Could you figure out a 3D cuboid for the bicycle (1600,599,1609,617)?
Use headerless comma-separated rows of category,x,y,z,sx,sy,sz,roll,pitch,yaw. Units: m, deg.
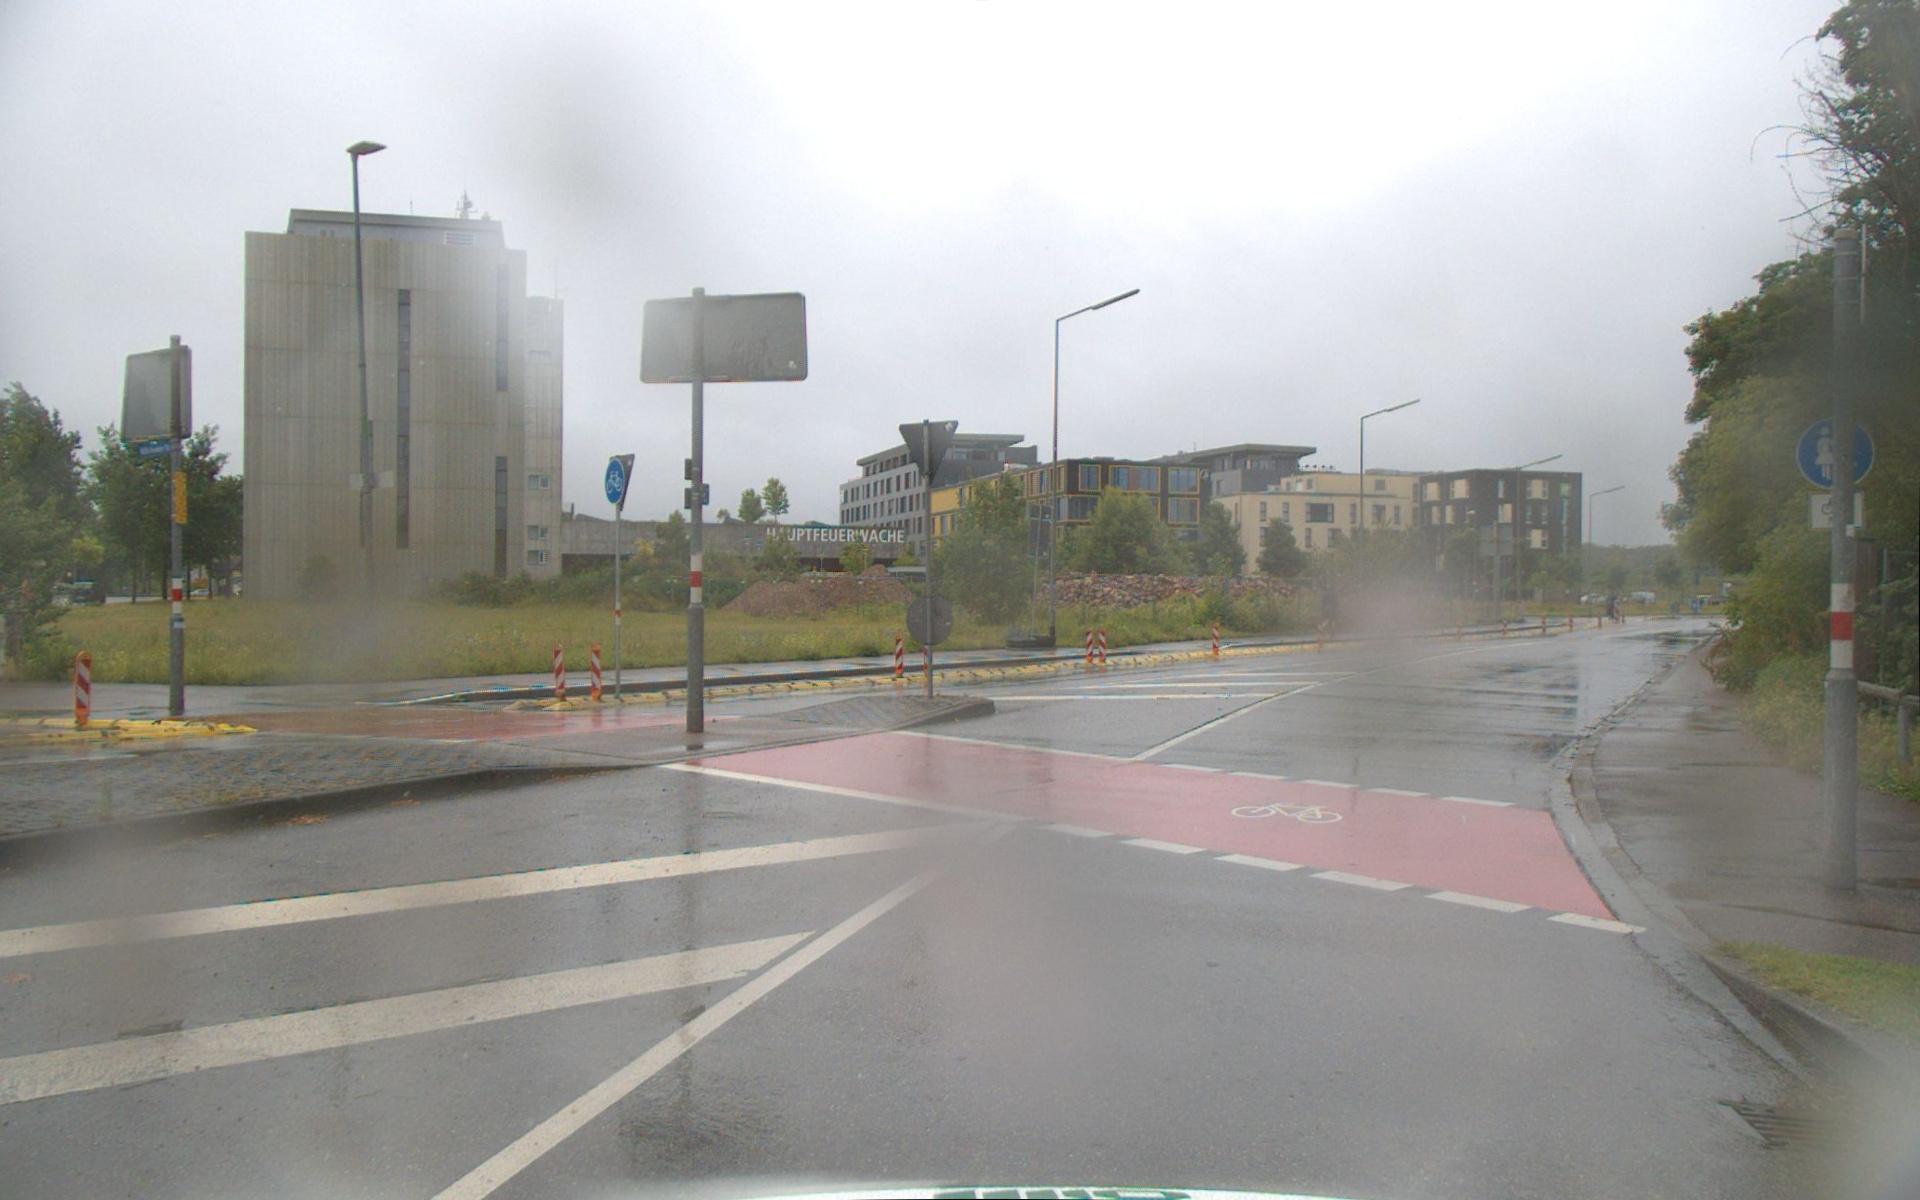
bicycle,38.810,0.472,99.609,0.418,1.037,1.611,1,0,25

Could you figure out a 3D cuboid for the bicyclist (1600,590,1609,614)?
bicyclist,38.824,0.128,99.616,0.435,1.428,0.549,0,-2,27

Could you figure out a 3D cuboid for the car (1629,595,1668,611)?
car,81.581,0.368,196.022,3.919,1.803,1.993,2,-2,-14

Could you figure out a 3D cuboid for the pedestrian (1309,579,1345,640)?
pedestrian,12.658,0.321,57.078,0.831,2.049,1.128,0,-3,34
